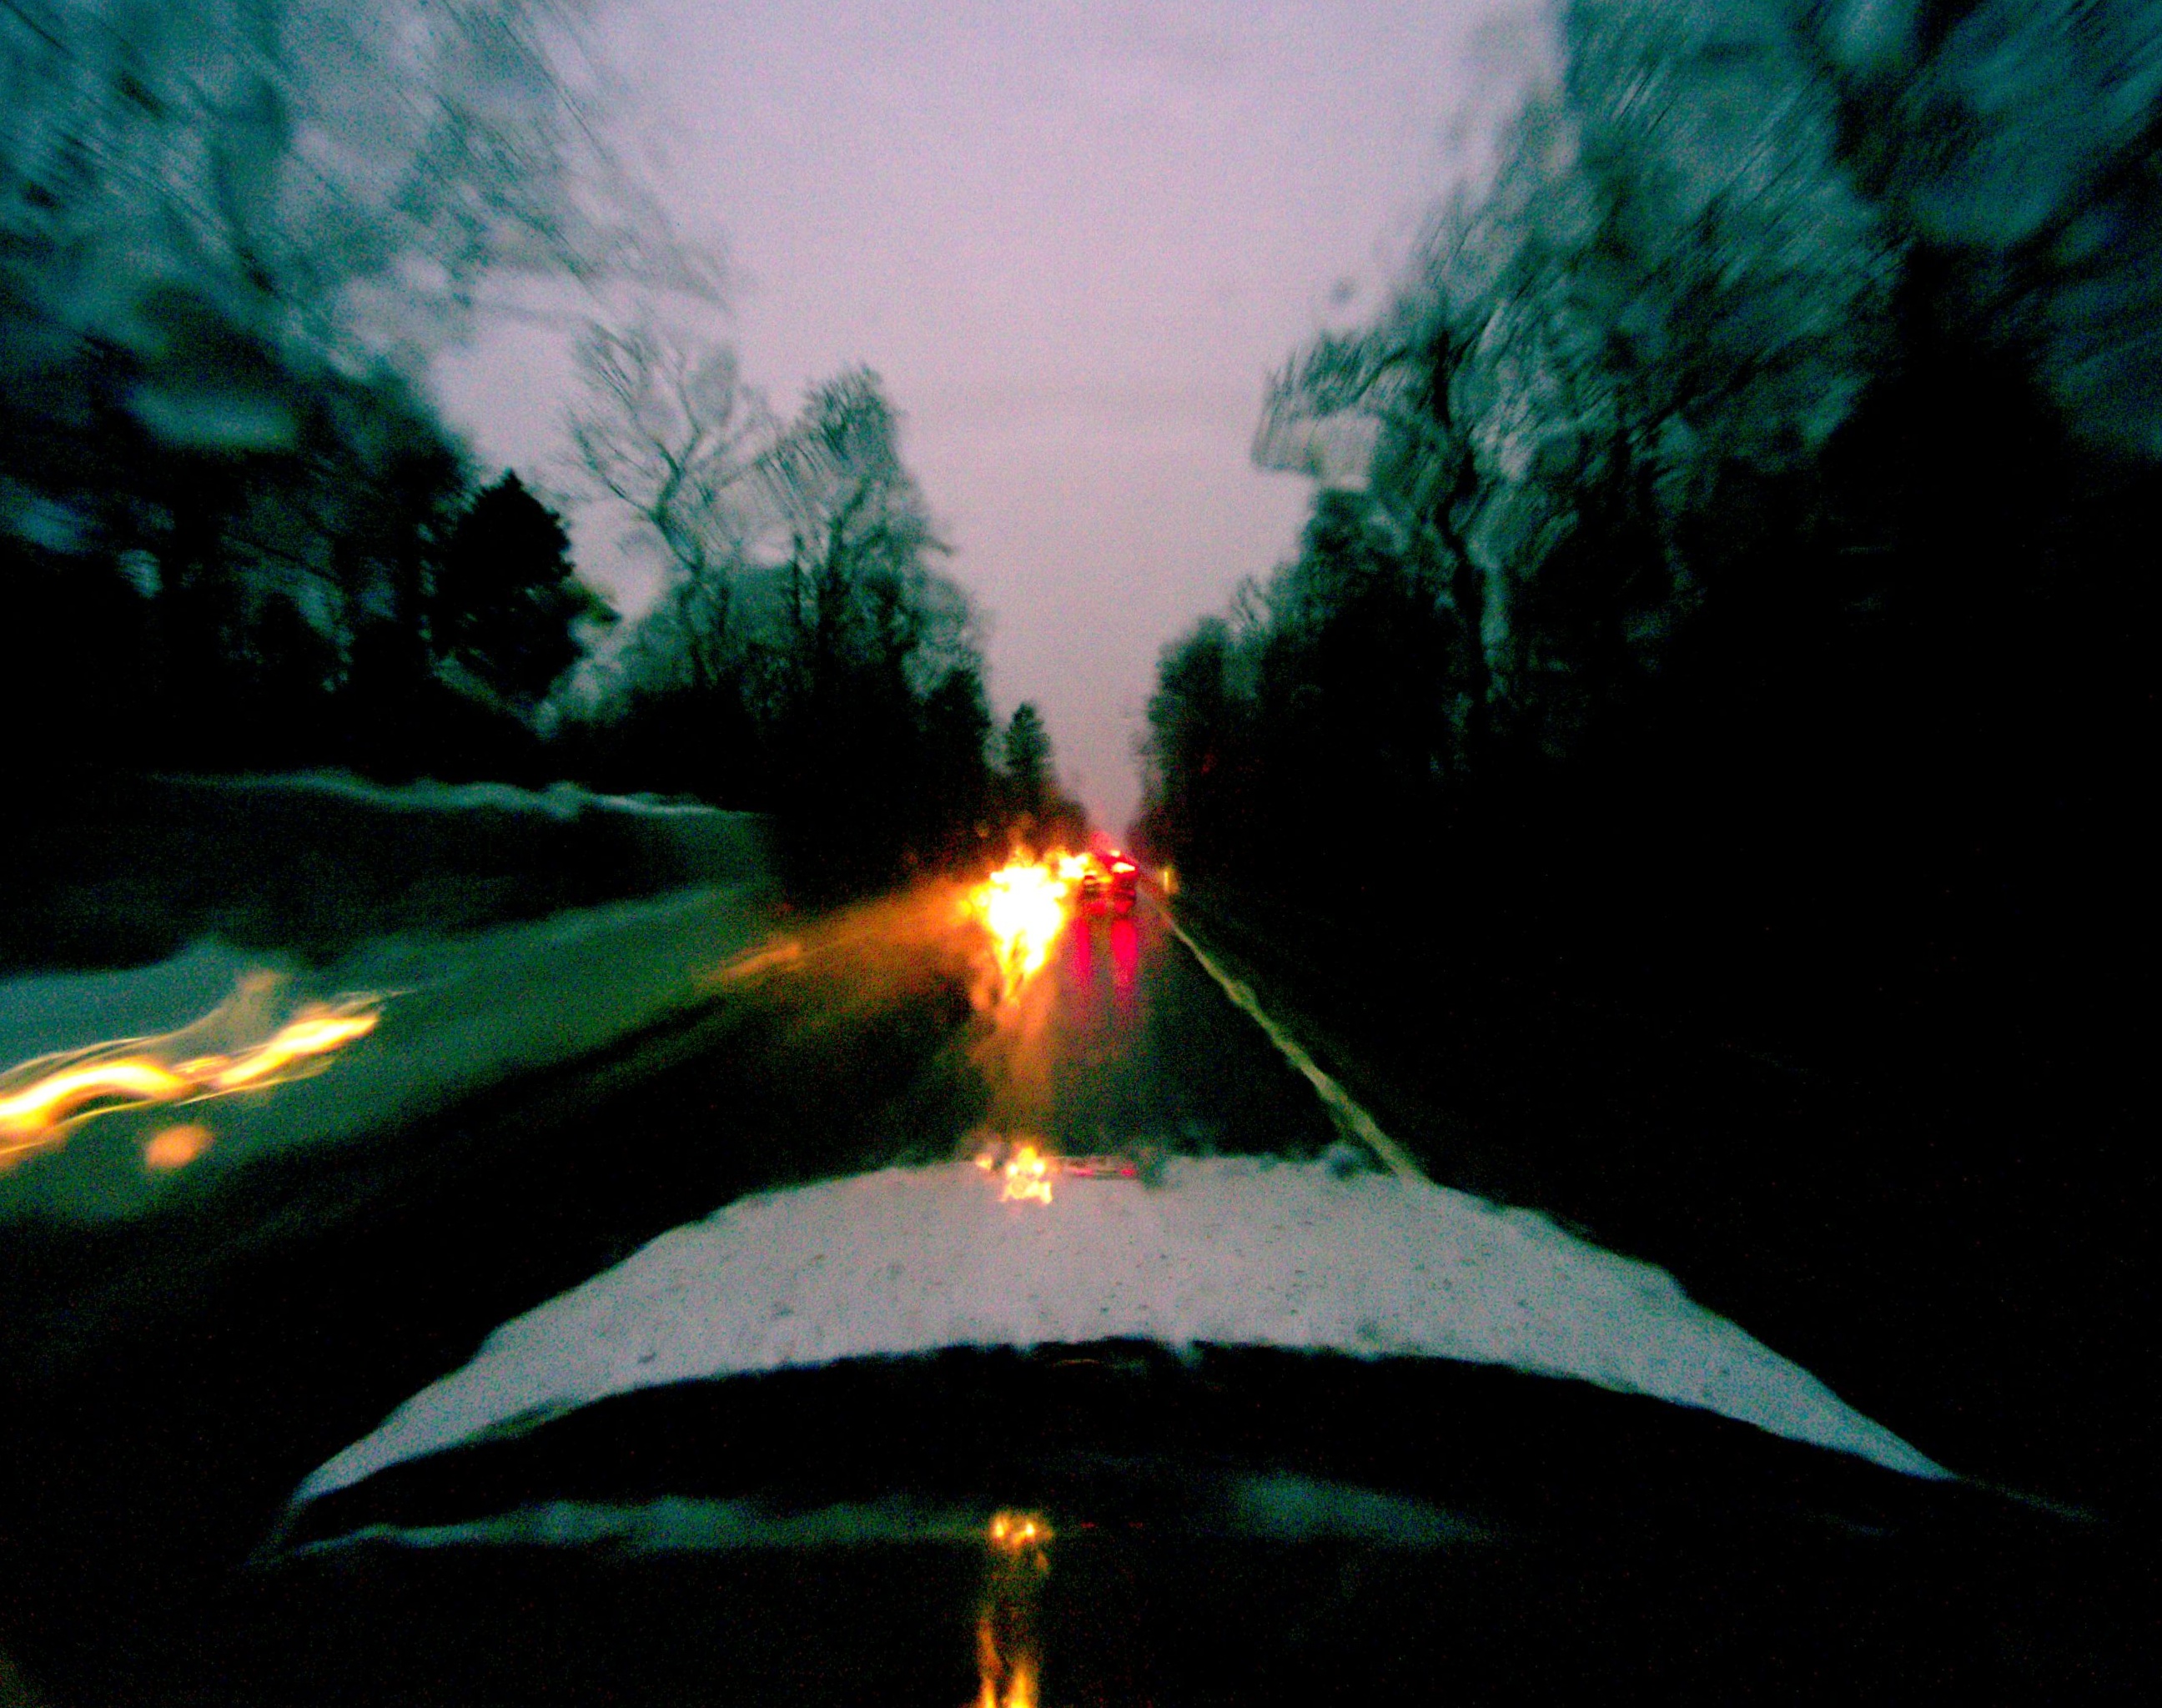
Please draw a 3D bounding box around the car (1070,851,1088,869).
[{"bbox_3d":[-0.216,0.656,89.942,1.790,1.881,4.427,-3,0,2],"label":"car"}]

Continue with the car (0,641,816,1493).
[{"bbox_3d":[-3.351,0.552,4.425,2.000,1.989,5.032,-3,0,1],"label":"car"}]

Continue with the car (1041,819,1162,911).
[{"bbox_3d":[0.682,0.295,24.828,3.171,2.386,6.640,-1,0,2],"label":"car"}]

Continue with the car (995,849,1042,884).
[{"bbox_3d":[-2.925,0.567,39.034,1.747,1.457,3.639,-3,0,2],"label":"car"}]
